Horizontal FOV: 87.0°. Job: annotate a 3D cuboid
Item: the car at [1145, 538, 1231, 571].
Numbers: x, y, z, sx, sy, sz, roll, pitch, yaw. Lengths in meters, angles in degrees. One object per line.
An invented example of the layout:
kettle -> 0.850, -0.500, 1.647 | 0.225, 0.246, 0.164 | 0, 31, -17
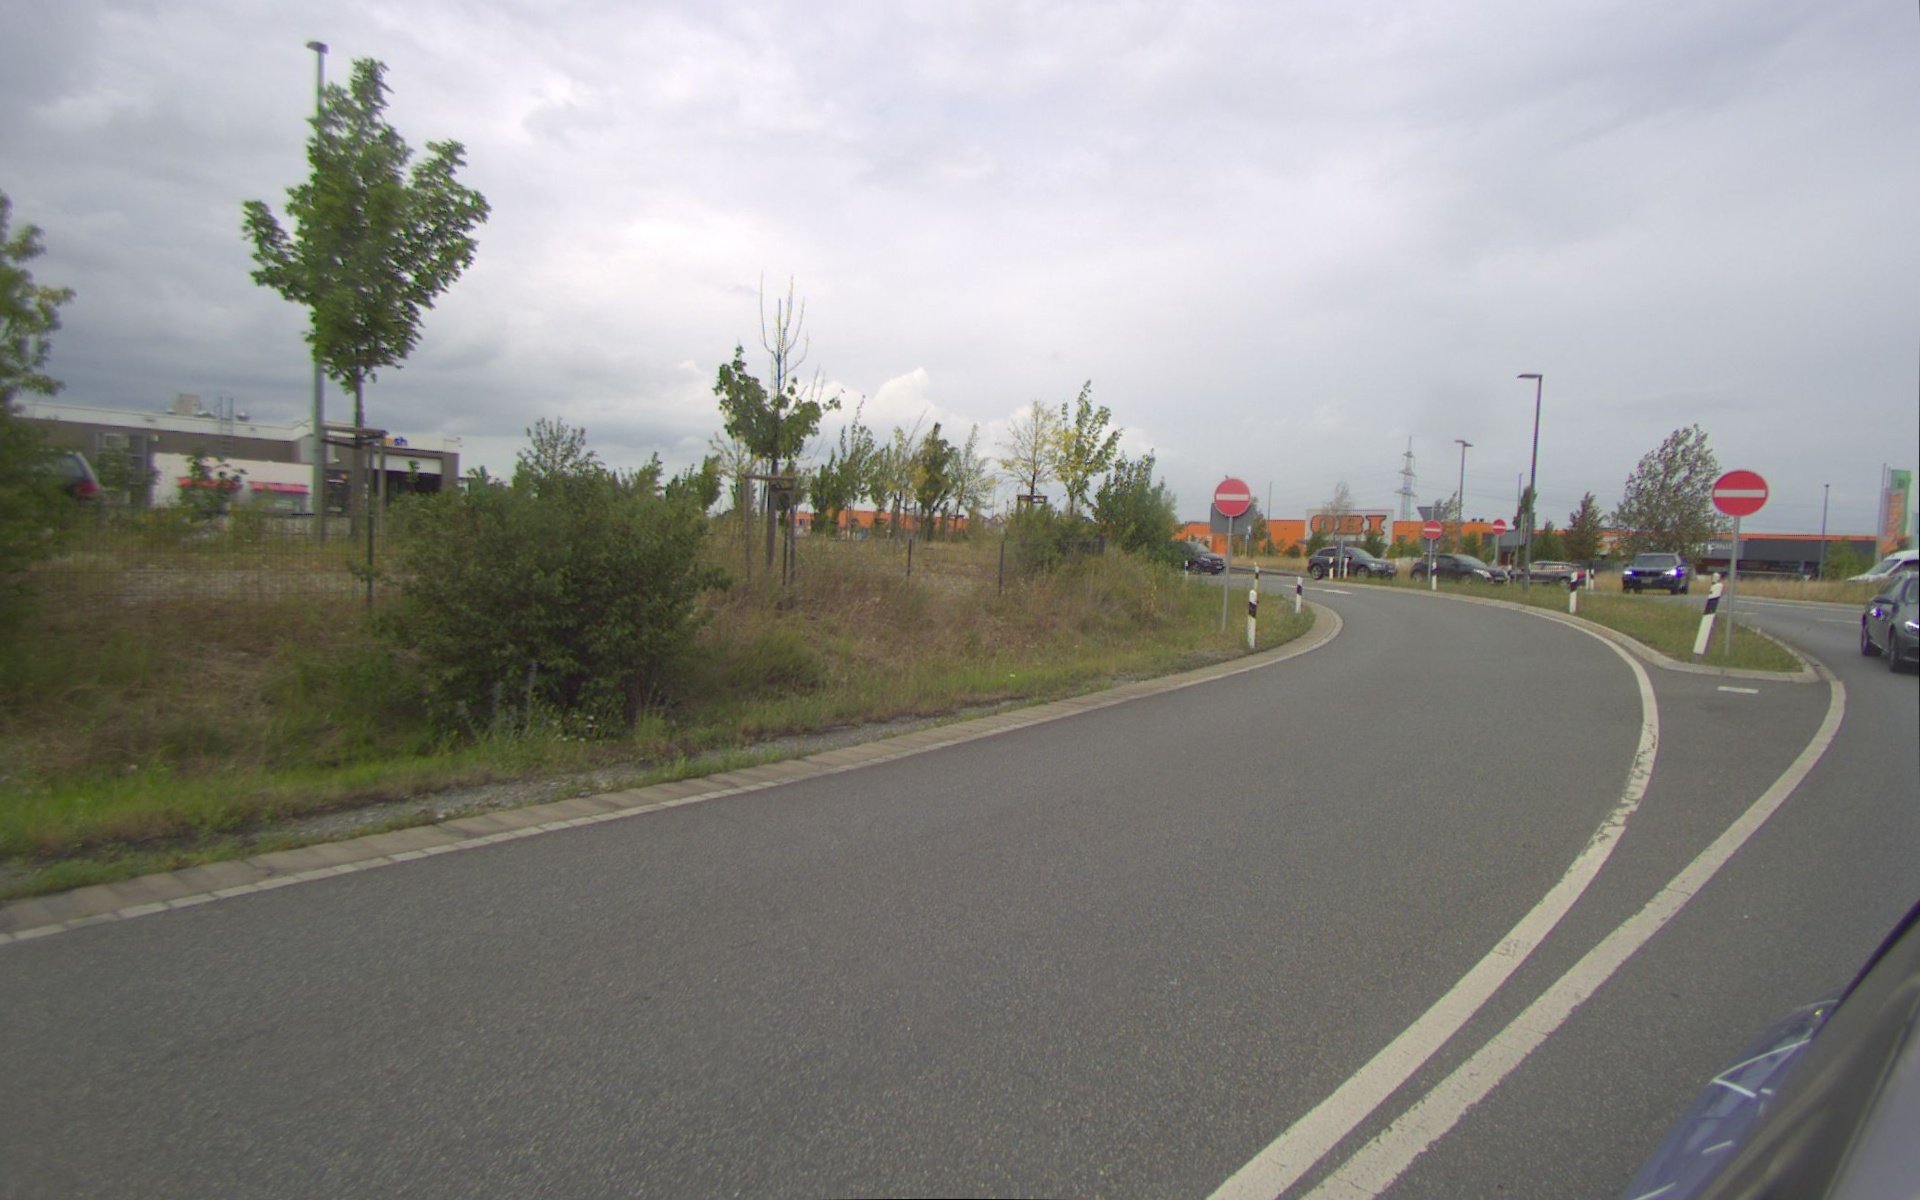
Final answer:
car -> 12.956, -2.608, 57.715 | 1.691, 1.742, 4.743 | -1, 4, -39

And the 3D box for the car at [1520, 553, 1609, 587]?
car -> 32.087, -1.595, 53.853 | 3.967, 1.678, 1.979 | 3, 2, 30

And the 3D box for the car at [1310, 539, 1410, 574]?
car -> 19.520, -2.128, 49.512 | 1.847, 1.602, 4.282 | -1, 3, -31

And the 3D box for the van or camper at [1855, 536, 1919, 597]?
van or camper -> 44.769, -1.441, 45.722 | 5.963, 2.682, 2.322 | 2, 2, 17

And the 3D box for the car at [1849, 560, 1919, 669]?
car -> 15.302, 0.174, 15.386 | 1.893, 1.515, 4.291 | 3, 3, 31

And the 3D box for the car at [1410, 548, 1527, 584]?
car -> 21.271, -1.464, 42.515 | 1.805, 1.387, 4.154 | 0, 3, -24

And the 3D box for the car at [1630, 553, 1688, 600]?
car -> 28.163, -0.911, 40.793 | 1.832, 1.741, 3.950 | 1, 0, 35

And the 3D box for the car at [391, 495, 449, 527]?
car -> -26.353, -4.310, 49.350 | 1.641, 1.448, 3.995 | -1, 3, -41
